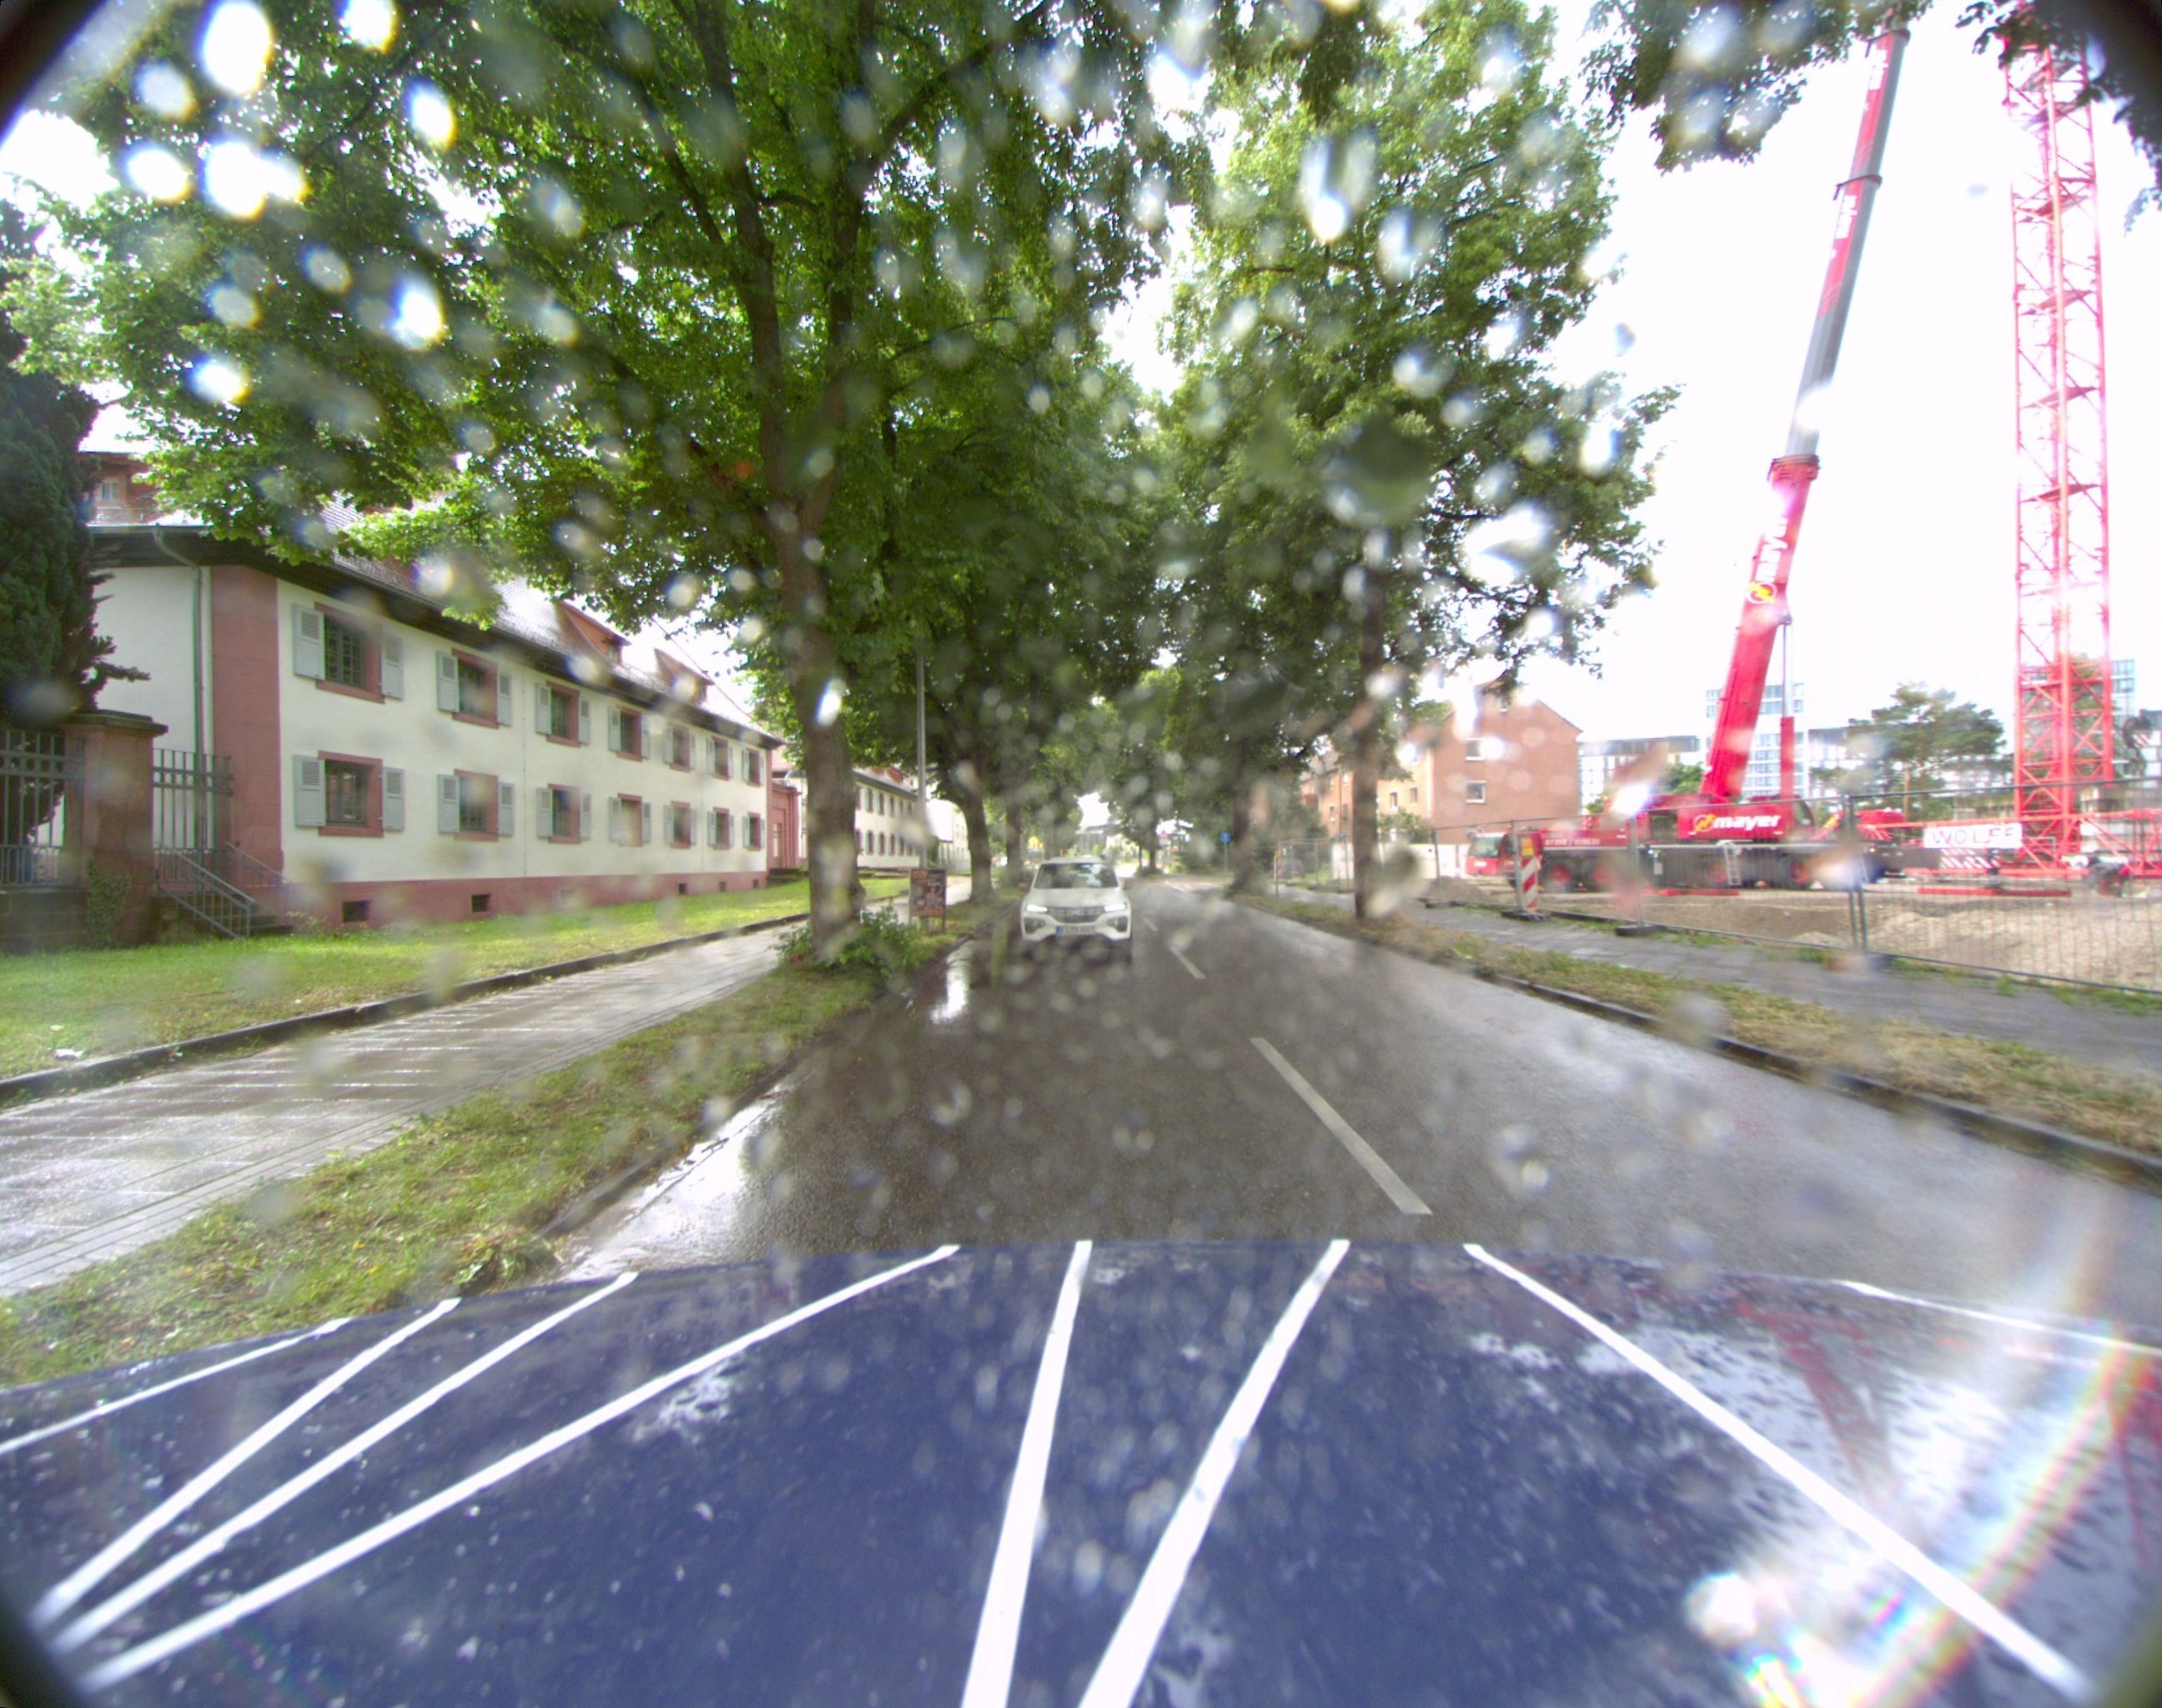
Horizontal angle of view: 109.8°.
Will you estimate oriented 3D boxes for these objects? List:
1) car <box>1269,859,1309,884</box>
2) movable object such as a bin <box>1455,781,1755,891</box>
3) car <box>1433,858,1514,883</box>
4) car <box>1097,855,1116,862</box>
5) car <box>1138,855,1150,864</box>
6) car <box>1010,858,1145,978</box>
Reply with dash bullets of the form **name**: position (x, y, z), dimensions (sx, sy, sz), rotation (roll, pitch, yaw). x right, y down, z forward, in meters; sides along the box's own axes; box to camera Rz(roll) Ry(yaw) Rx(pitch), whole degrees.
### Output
- **car**: position (13.588, 1.136, 49.878), dimensions (1.628, 1.412, 3.869), rotation (-2, 2, 2)
- **movable object such as a bin**: position (21.271, -0.659, 31.378), dimensions (9.834, 4.091, 3.367), rotation (-1, 0, 3)
- **car**: position (23.189, 0.933, 44.939), dimensions (4.067, 1.405, 1.726), rotation (0, 0, -11)
- **car**: position (5.299, 0.943, 157.929), dimensions (3.451, 1.229, 1.496), rotation (-1, 0, 21)
- **car**: position (11.939, 1.076, 144.242), dimensions (1.891, 1.703, 4.230), rotation (0, 0, 1)
- **car**: position (-0.067, 0.855, 11.895), dimensions (1.737, 1.525, 3.616), rotation (-2, 0, -1)
